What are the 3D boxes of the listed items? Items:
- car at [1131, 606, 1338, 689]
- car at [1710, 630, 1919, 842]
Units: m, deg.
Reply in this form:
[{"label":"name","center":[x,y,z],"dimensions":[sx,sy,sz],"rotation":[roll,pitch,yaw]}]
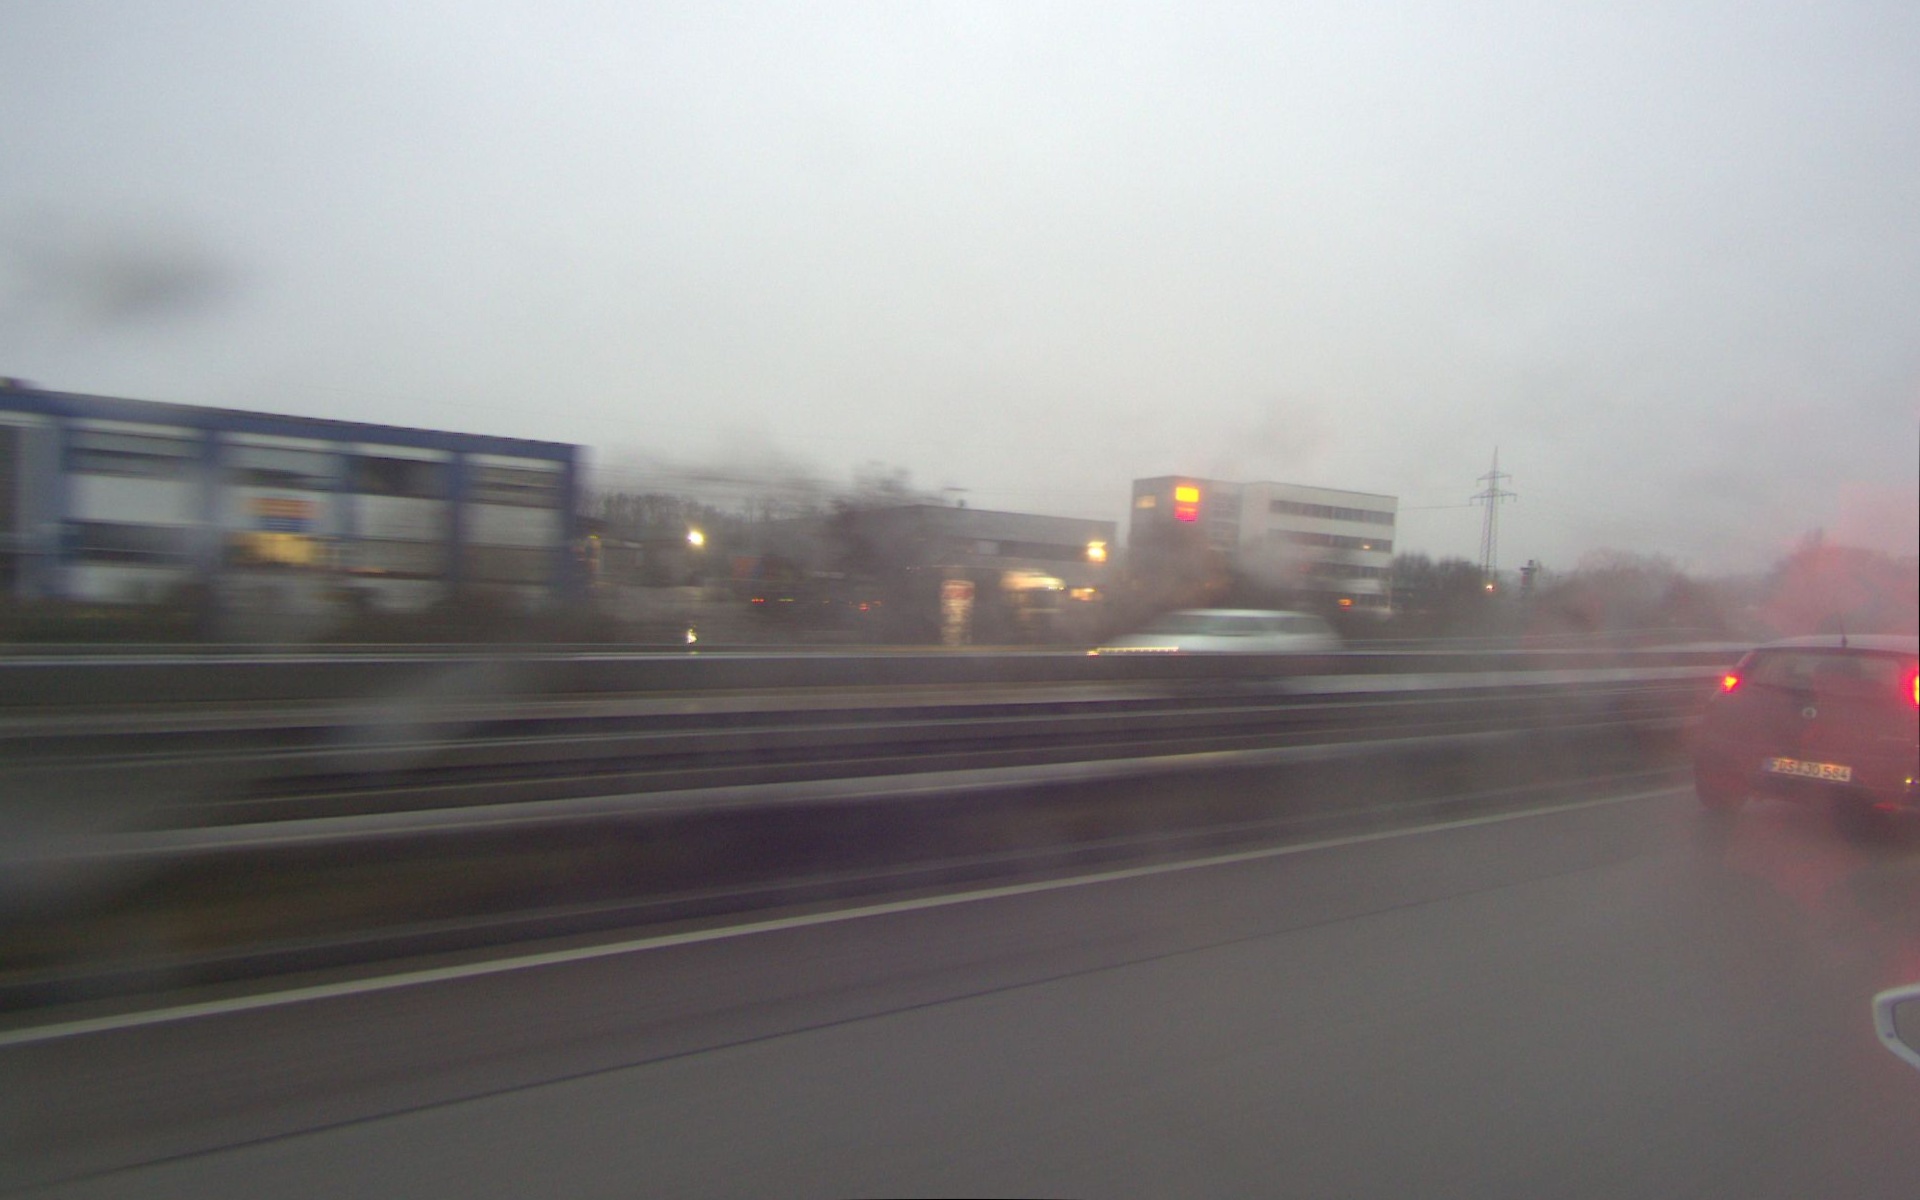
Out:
[{"label":"car","center":[5.383,0.883,19.518],"dimensions":[4.039,1.439,1.661],"rotation":[2,0,-34]},{"label":"car","center":[8.103,1.010,8.378],"dimensions":[3.955,1.410,1.617],"rotation":[2,0,-32]}]
